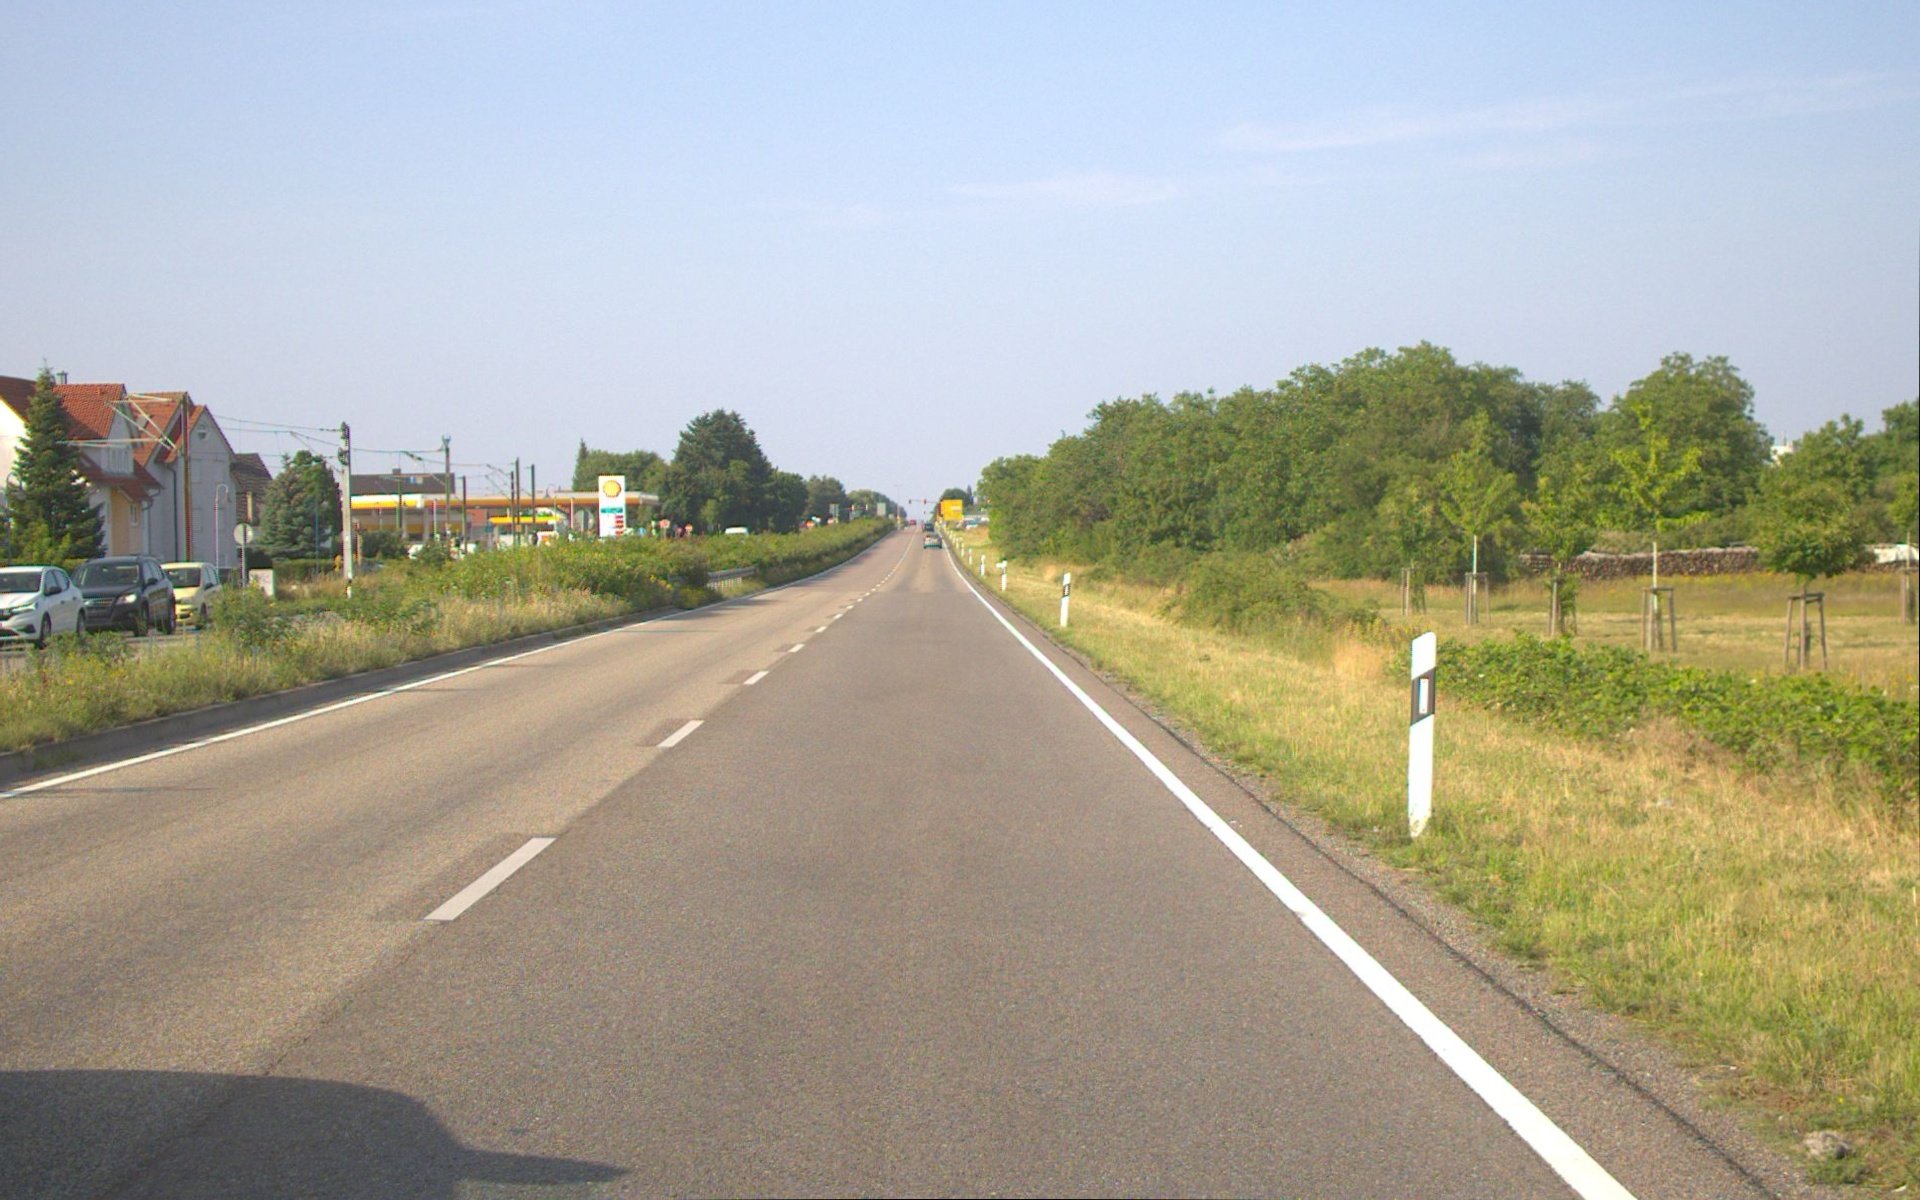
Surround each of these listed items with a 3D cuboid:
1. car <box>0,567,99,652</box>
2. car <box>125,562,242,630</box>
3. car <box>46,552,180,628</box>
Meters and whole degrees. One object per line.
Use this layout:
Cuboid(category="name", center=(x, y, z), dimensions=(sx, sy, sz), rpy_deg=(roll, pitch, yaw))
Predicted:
Cuboid(category="car", center=(-16.982, 0.168, 62.236), dimensions=(1.660, 1.426, 4.449), rpy_deg=(-2, 1, -1))
Cuboid(category="car", center=(-17.581, -0.108, 78.023), dimensions=(1.660, 1.426, 4.326), rpy_deg=(-2, 1, -1))
Cuboid(category="car", center=(-17.240, -0.223, 70.178), dimensions=(1.660, 1.426, 4.326), rpy_deg=(-2, 1, -1))
